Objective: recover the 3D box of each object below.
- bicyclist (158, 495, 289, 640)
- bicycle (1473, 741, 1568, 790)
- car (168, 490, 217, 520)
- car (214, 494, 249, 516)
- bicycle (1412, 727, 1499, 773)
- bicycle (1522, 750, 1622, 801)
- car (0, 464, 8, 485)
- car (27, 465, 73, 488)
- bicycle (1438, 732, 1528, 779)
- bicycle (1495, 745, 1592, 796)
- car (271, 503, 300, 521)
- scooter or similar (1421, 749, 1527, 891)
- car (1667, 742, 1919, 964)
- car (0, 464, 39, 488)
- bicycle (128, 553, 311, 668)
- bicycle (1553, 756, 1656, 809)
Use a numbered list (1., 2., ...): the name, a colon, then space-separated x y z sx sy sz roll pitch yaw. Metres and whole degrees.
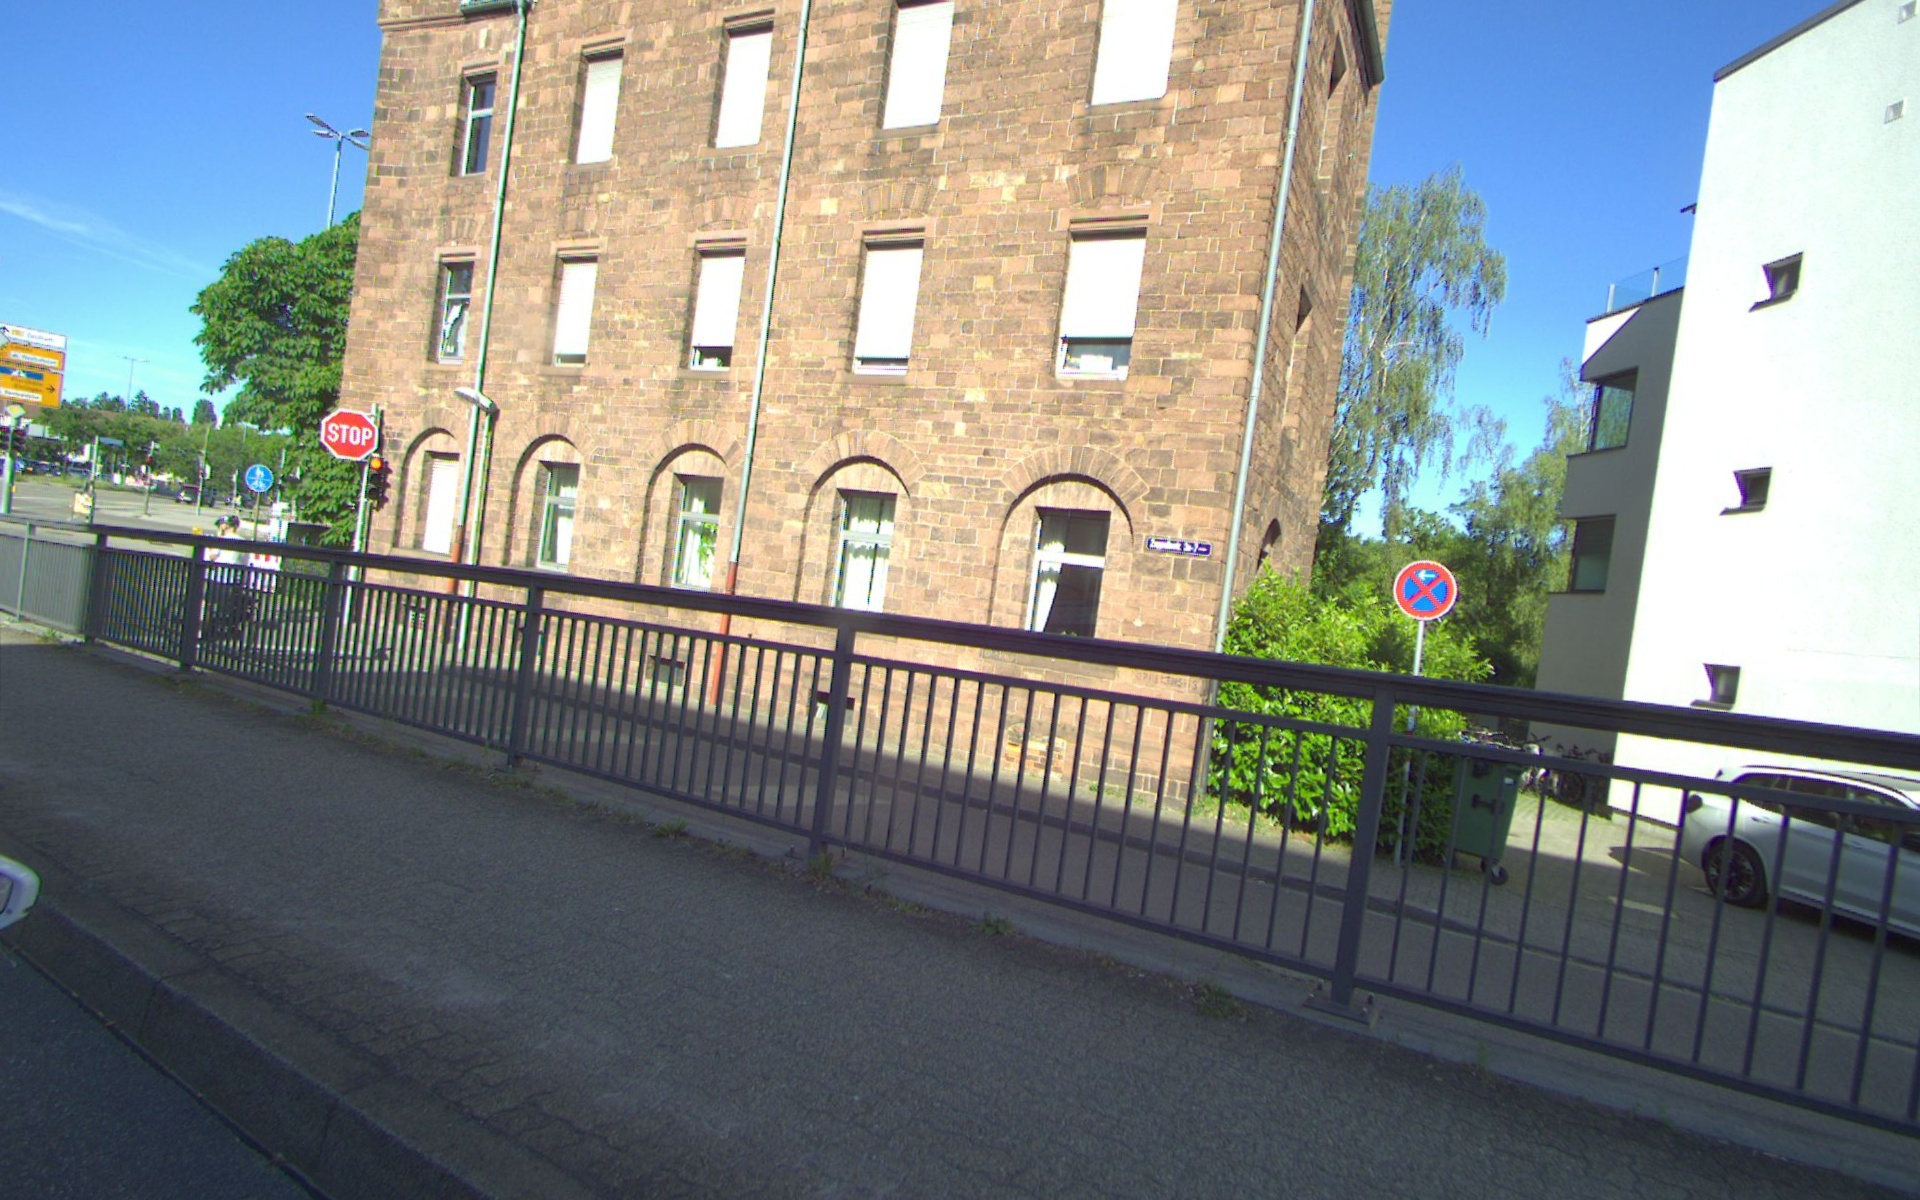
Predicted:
1. bicyclist: -9.676 -0.420 13.227 1.066 1.725 0.802 7 0 24
2. bicycle: 12.063 3.568 21.634 2.021 0.897 0.493 5 1 -19
3. car: -64.547 -7.977 84.706 1.972 1.814 3.985 7 -2 -20
4. car: -73.271 -9.540 101.189 1.975 1.816 3.974 7 1 -25
5. bicycle: 11.641 3.527 23.639 2.021 0.897 0.493 5 1 -19
6. bicycle: 12.470 3.576 20.485 2.021 0.897 0.493 5 1 -19
7. car: -76.031 -9.959 78.351 1.808 1.602 4.067 7 1 -33
8. car: -84.234 -11.390 93.153 1.976 1.470 3.975 8 -1 -26
9. bicycle: 11.802 3.505 22.700 2.021 0.897 0.493 5 1 -19
10. bicycle: 12.242 3.580 21.090 2.021 0.897 0.493 5 1 -19
11. car: -79.700 -10.405 118.921 1.973 1.660 3.978 7 1 -22
12. scooter or similar: 5.477 2.302 10.807 0.771 1.232 1.463 8 -2 24
13. car: 10.210 2.760 10.471 1.797 1.788 4.643 7 -2 -9
14. car: -79.972 -10.503 85.420 1.711 1.602 3.970 8 0 -31
15. bicycle: -9.698 0.126 13.153 2.359 1.124 0.802 9 0 25
16. bicycle: 12.648 3.582 19.729 2.021 0.897 0.493 5 1 -19
